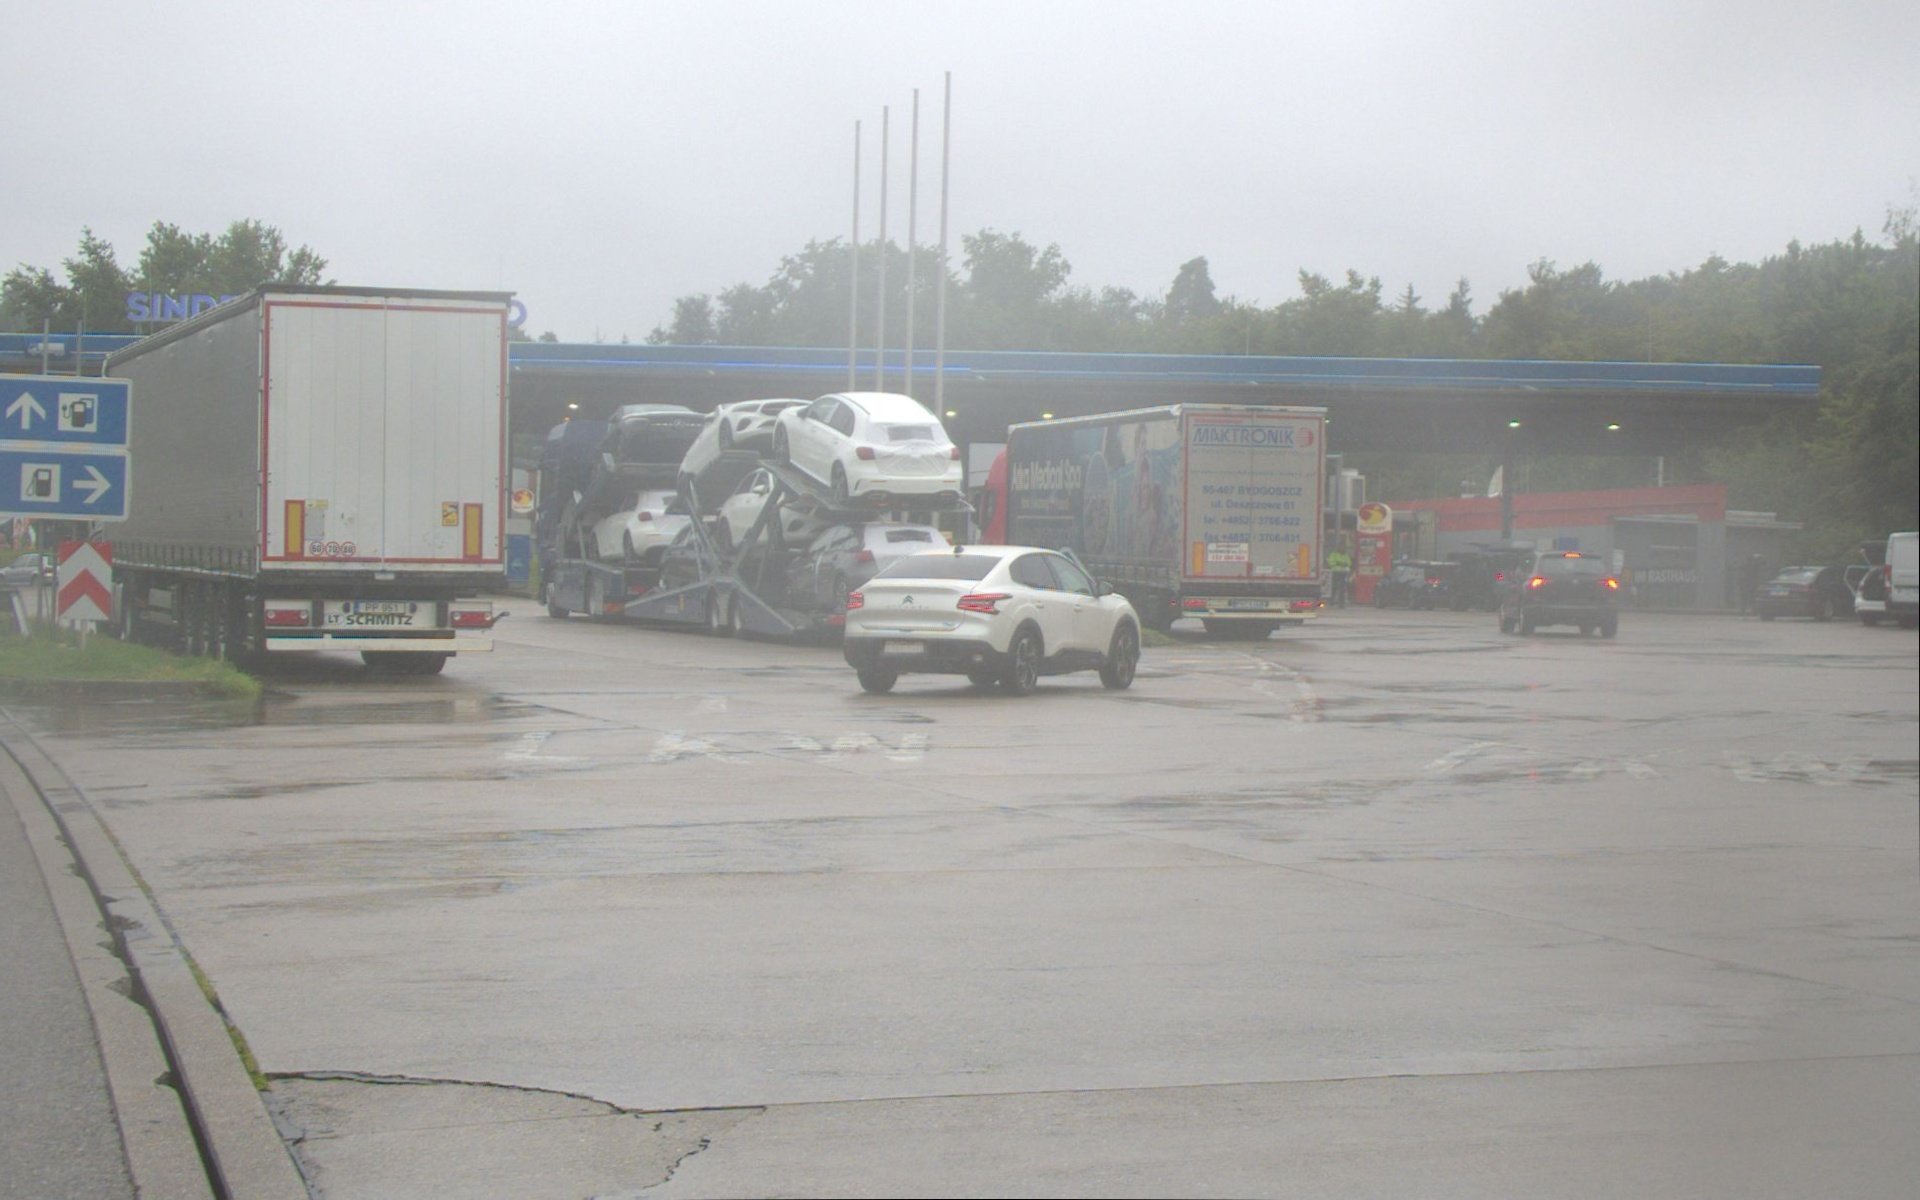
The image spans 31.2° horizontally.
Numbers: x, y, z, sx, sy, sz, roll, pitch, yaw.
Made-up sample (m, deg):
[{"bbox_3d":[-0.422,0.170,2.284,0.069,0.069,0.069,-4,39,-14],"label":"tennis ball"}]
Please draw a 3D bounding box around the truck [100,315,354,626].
[{"bbox_3d":[-9.999,-1.700,46.398,2.370,3.861,7.014,0,1,-20],"label":"truck"}]

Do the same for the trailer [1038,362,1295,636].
[{"bbox_3d":[3.595,-1.758,62.599,1.993,4.543,9.812,1,0,-12],"label":"trailer"}]

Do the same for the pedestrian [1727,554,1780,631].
[{"bbox_3d":[20.068,-0.200,86.922,0.955,1.913,1.087,2,1,33],"label":"pedestrian"}]

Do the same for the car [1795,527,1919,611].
[{"bbox_3d":[21.904,-0.740,82.101,2.118,1.930,4.182,2,1,41],"label":"car"}]

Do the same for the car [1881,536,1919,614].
[{"bbox_3d":[22.896,-0.560,78.324,2.118,1.722,3.990,2,1,41],"label":"car"}]

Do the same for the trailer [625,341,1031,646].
[{"bbox_3d":[-2.362,-1.654,53.910,3.214,4.174,11.533,2,1,-18],"label":"trailer"}]

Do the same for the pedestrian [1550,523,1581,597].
[{"bbox_3d":[16.892,-1.119,95.897,0.670,2.007,0.742,3,-2,14],"label":"pedestrian"}]

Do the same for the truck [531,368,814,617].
[{"bbox_3d":[-5.444,-1.966,63.380,3.233,4.174,8.446,2,1,-18],"label":"truck"}]

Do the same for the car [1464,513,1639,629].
[{"bbox_3d":[11.376,-0.525,66.400,1.993,2.007,4.001,4,-2,-10],"label":"car"}]

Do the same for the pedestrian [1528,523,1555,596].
[{"bbox_3d":[16.436,-1.151,97.258,0.586,2.007,0.637,3,-2,5],"label":"pedestrian"}]

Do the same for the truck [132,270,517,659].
[{"bbox_3d":[-7.773,-1.507,40.381,2.370,3.861,12.459,0,1,-20],"label":"truck"}]

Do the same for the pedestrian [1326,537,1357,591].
[{"bbox_3d":[11.202,-1.056,100.858,0.719,1.516,0.742,3,-2,14],"label":"pedestrian"}]

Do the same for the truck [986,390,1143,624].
[{"bbox_3d":[2.066,-1.852,69.753,1.987,4.534,4.797,1,0,-12],"label":"truck"}]

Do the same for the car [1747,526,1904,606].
[{"bbox_3d":[21.665,-0.861,85.983,2.118,1.930,4.182,2,1,41],"label":"car"}]

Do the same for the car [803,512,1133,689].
[{"bbox_3d":[0.151,-0.031,35.237,1.996,1.673,3.995,1,1,22],"label":"car"}]
